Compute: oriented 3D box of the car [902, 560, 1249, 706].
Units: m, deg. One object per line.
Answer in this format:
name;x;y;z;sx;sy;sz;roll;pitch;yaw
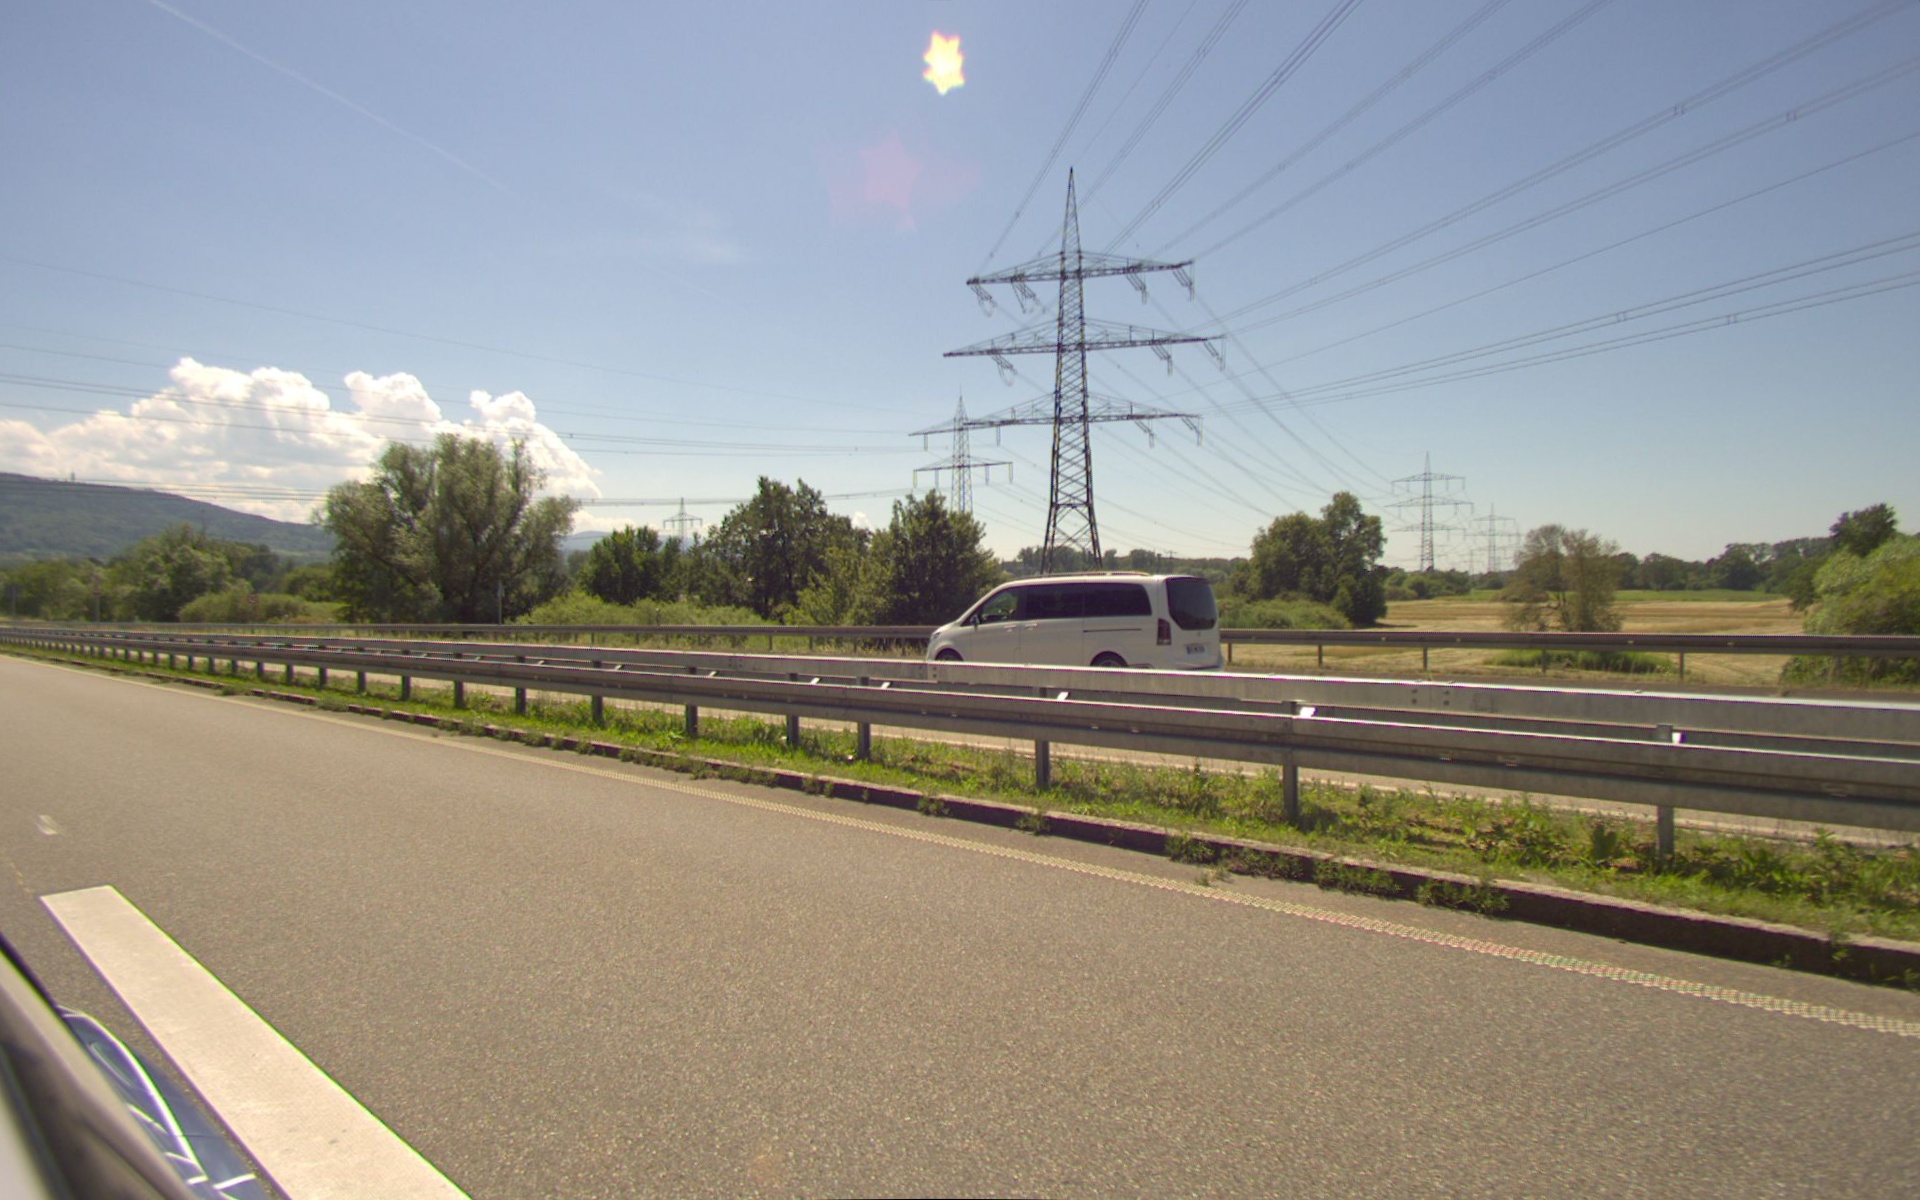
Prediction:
car;1.685;0.506;16.470;5.530;2.007;1.871;-1;-1;41
